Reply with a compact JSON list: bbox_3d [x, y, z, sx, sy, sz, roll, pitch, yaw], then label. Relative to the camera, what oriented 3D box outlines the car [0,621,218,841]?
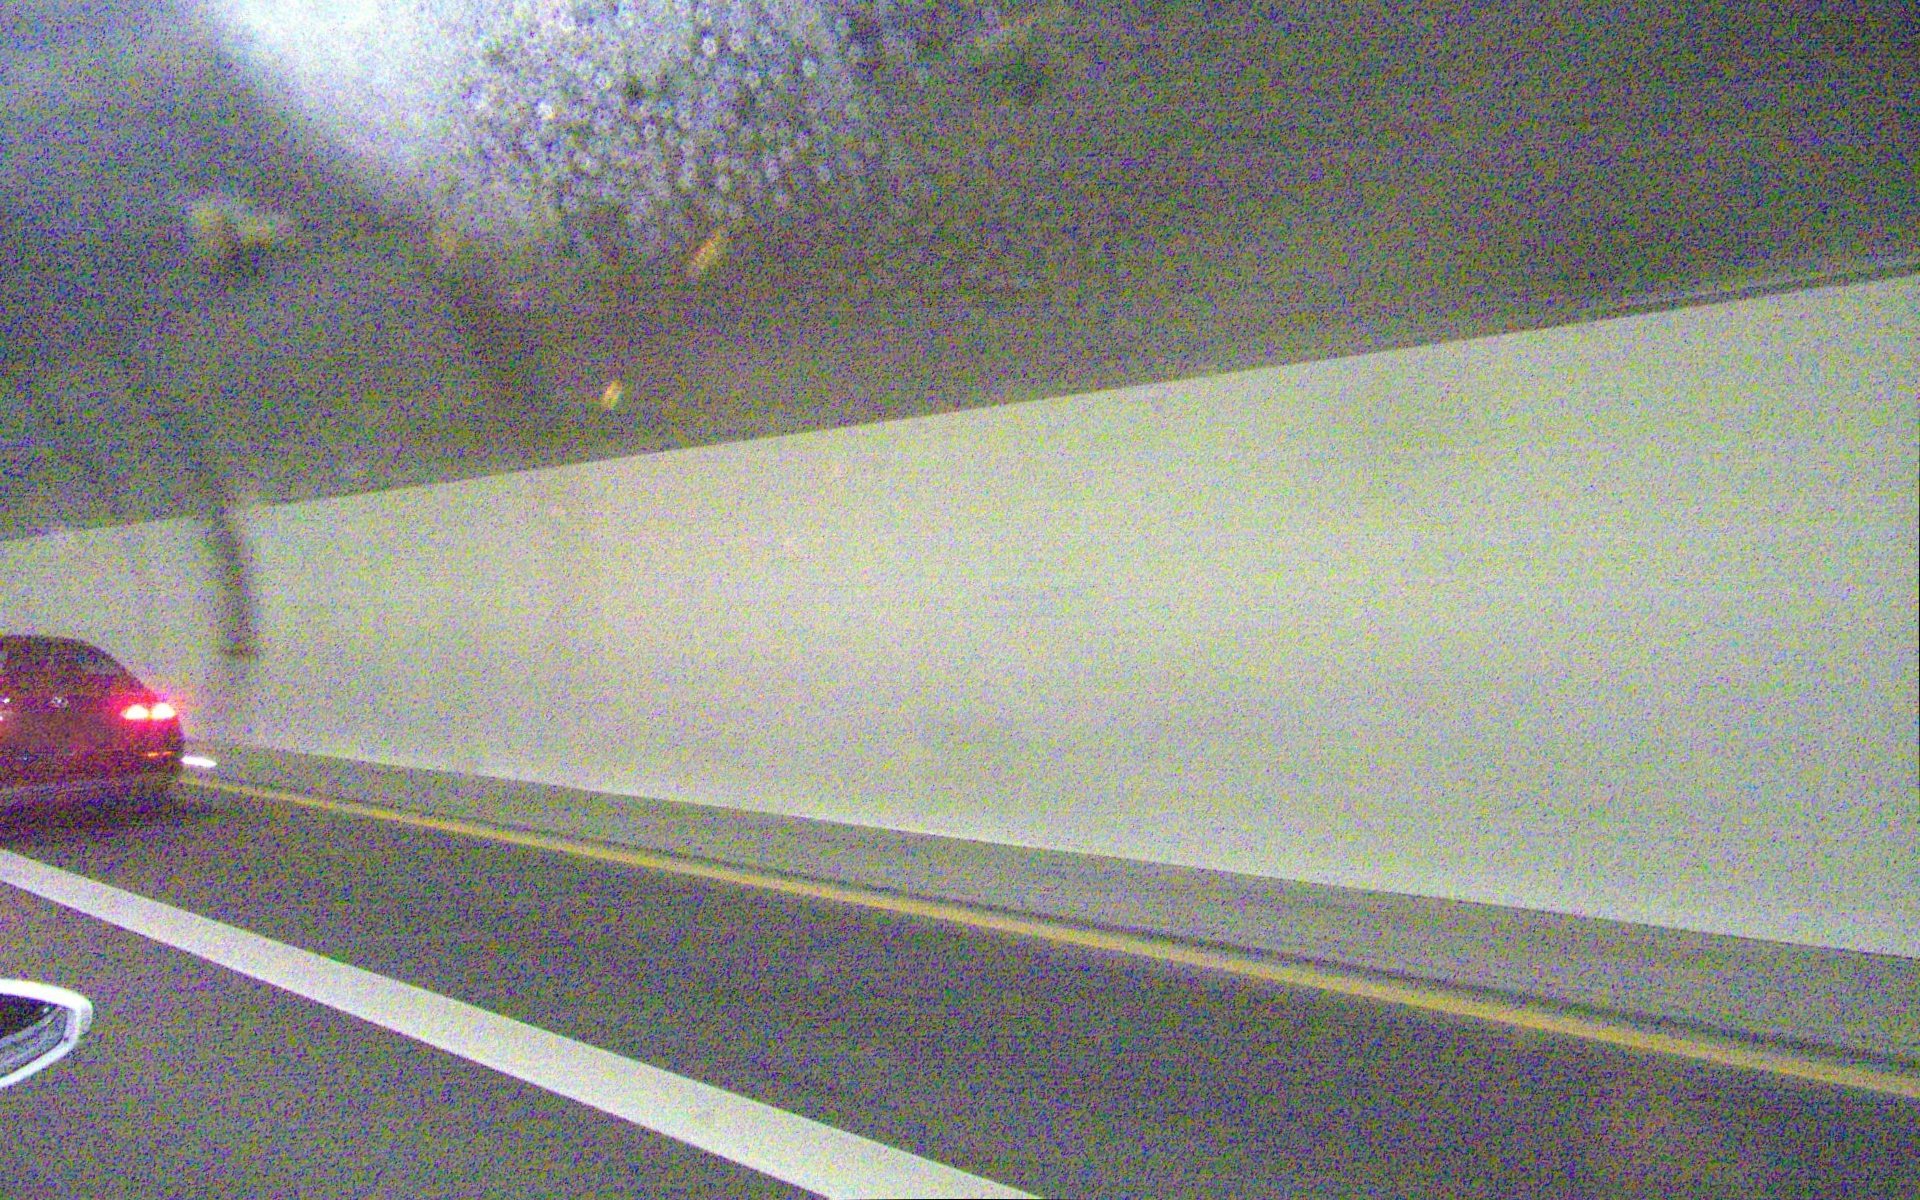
[{"bbox_3d":[-8.418,0.928,8.390,4.883,1.491,1.922,-1,-1,32],"label":"car"}]
